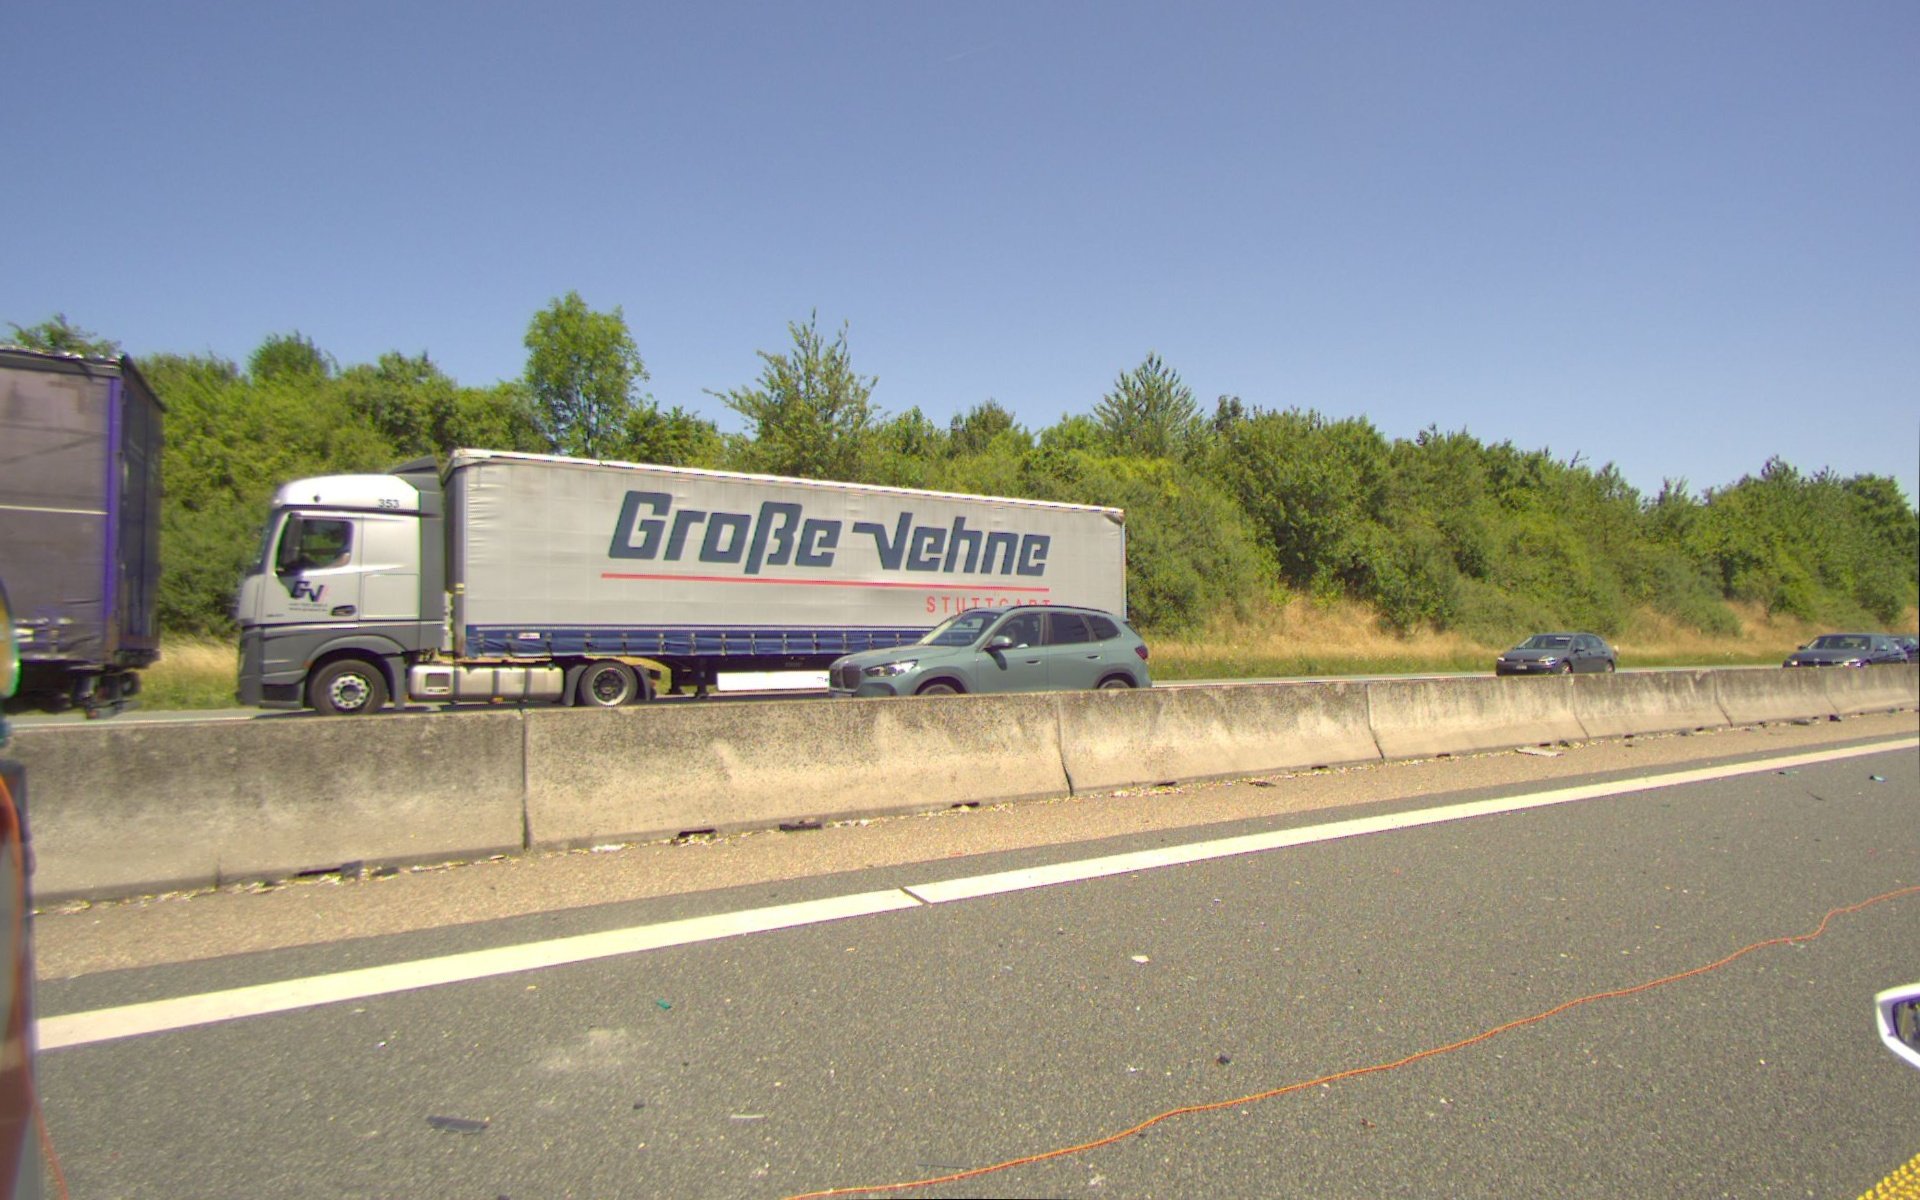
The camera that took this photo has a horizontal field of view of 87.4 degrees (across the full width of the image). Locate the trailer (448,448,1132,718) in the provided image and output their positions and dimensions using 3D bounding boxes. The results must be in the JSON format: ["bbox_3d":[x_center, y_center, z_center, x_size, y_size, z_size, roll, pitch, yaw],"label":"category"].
[{"bbox_3d":[-2.591,-0.069,20.177,13.489,4.115,2.937,1,-3,-33],"label":"trailer"}]

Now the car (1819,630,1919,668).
[{"bbox_3d":[37.415,1.978,41.168,4.532,1.480,1.984,1,-1,-30],"label":"car"}]

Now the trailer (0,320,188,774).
[{"bbox_3d":[-14.635,-0.590,7.637,13.531,4.235,3.143,1,-1,-32],"label":"trailer"}]

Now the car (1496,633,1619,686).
[{"bbox_3d":[17.261,1.671,28.964,4.047,1.415,1.494,1,-1,-34],"label":"car"}]

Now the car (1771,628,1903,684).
[{"bbox_3d":[24.631,1.544,28.194,3.942,1.461,1.609,1,-1,-30],"label":"car"}]

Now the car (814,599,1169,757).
[{"bbox_3d":[0.476,0.916,13.009,4.348,1.737,1.832,1,-1,-33],"label":"car"}]

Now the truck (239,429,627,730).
[{"bbox_3d":[-8.442,-0.199,16.399,5.140,4.131,2.929,1,-2,-33],"label":"truck"}]
